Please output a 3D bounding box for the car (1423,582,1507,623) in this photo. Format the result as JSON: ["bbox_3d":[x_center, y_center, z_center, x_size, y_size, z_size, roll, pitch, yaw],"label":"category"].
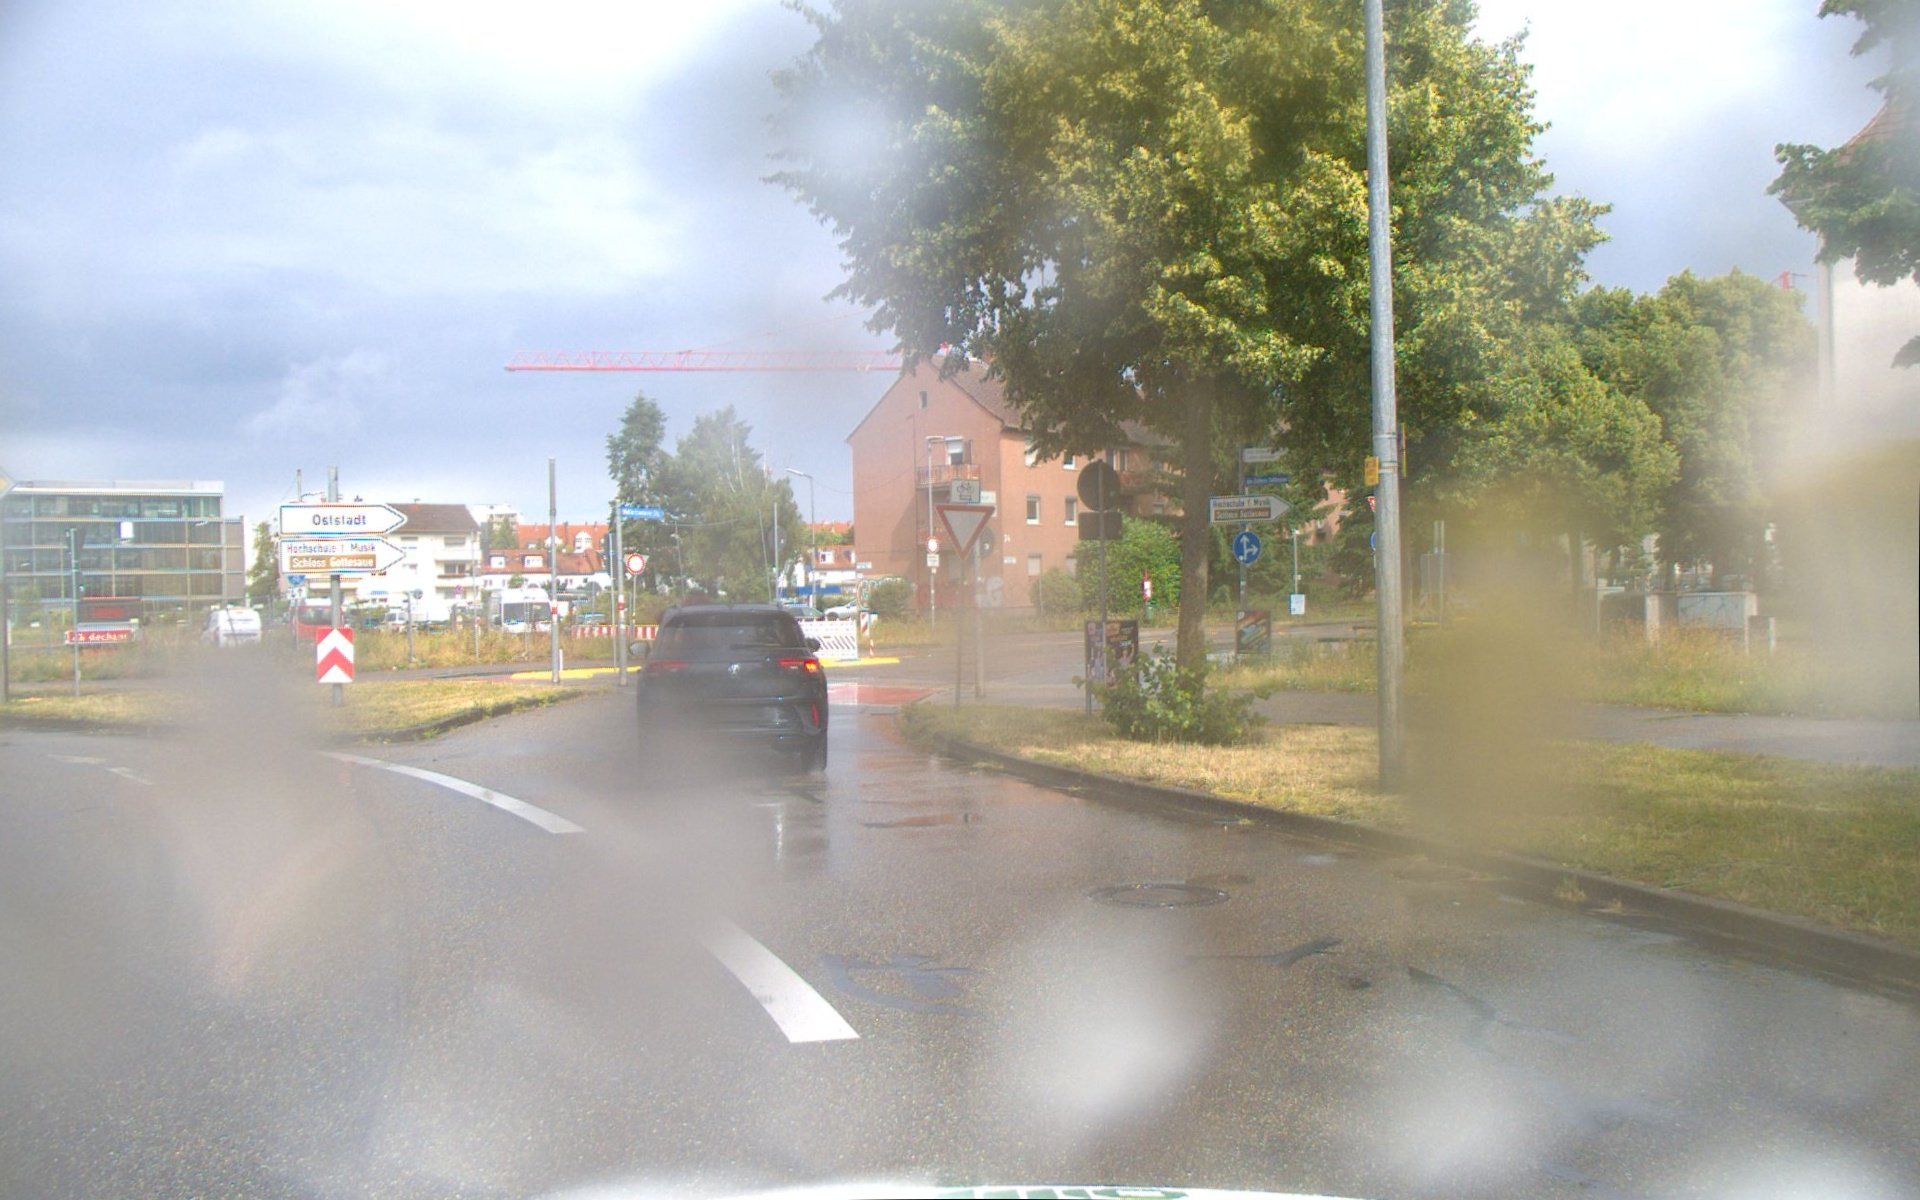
[{"bbox_3d":[24.378,0.091,79.746,2.046,1.762,4.669,1,2,43],"label":"car"}]

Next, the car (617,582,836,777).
[{"bbox_3d":[-2.321,0.693,16.451,1.862,1.646,3.992,-1,0,-9],"label":"car"}]

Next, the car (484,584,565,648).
[{"bbox_3d":[-16.482,0.542,62.342,2.009,2.121,6.220,-1,2,-24],"label":"car"}]

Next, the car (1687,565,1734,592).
[{"bbox_3d":[51.763,-1.494,114.035,2.041,1.762,4.680,1,2,37],"label":"car"}]

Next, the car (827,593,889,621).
[{"bbox_3d":[-5.942,0.396,96.483,3.437,1.545,1.617,-2,0,2],"label":"car"}]

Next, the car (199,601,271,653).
[{"bbox_3d":[-26.963,0.959,61.456,1.835,1.729,3.954,-1,2,-33],"label":"car"}]

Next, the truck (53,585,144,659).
[{"bbox_3d":[-29.563,0.679,56.923,2.359,2.250,6.055,-1,2,-24],"label":"truck"}]

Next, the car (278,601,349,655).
[{"bbox_3d":[-23.544,0.988,60.196,1.903,1.729,3.962,-1,2,-29],"label":"car"}]
